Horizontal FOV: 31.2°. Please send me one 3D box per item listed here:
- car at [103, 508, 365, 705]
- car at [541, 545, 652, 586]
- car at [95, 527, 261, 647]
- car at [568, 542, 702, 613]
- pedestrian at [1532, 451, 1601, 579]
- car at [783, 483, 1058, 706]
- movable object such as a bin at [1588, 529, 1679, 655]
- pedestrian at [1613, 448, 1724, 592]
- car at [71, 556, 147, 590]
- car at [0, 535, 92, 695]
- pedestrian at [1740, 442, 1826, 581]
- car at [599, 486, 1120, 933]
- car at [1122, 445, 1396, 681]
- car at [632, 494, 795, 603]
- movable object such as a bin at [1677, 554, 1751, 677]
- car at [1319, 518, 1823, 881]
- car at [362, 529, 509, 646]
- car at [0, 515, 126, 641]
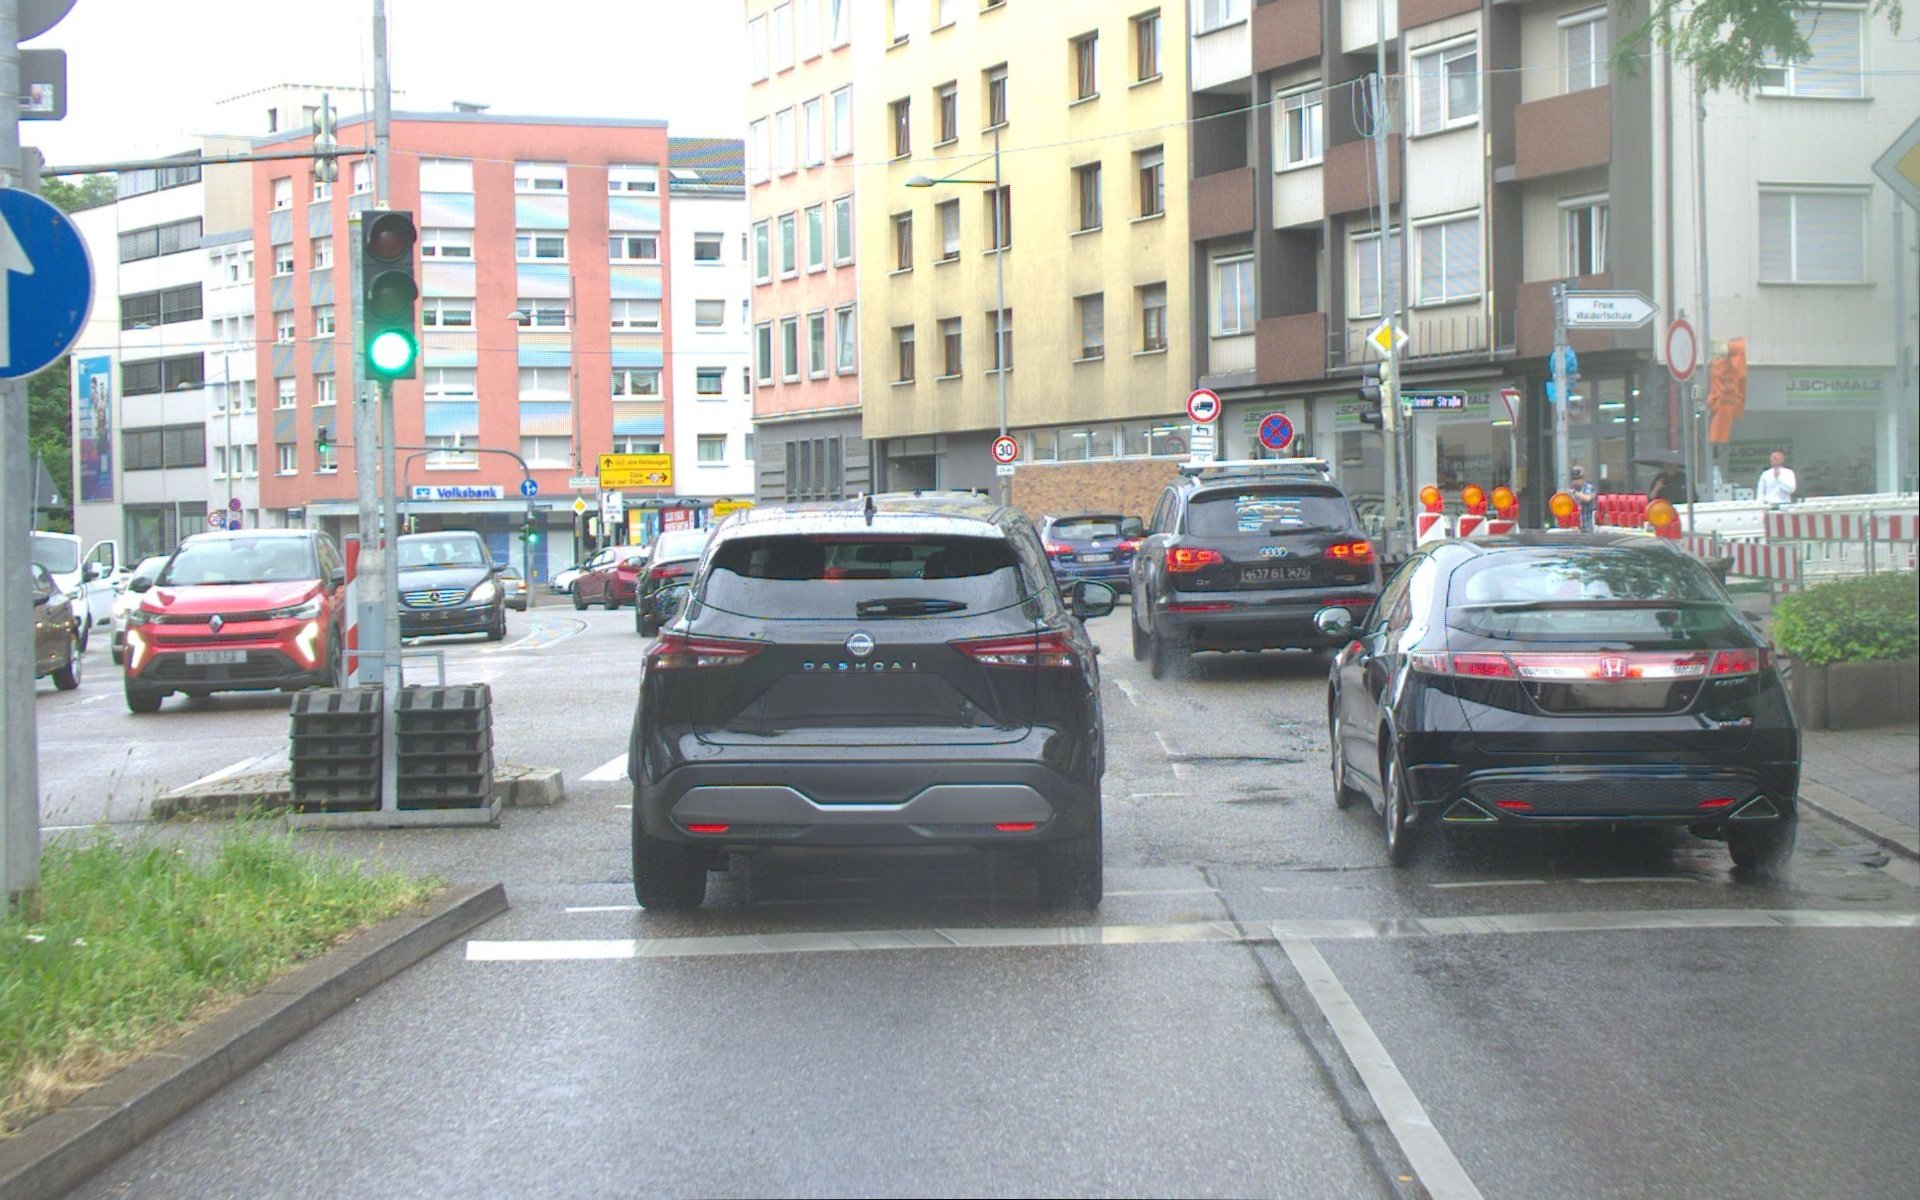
[{"bbox_3d":[-6.459,0.009,30.970,1.846,1.588,4.092,-2,1,-6],"label":"car"},{"bbox_3d":[-14.171,-1.362,134.085,3.945,1.481,1.703,-2,1,-24],"label":"car"},{"bbox_3d":[-10.704,-0.218,47.309,1.772,1.518,4.285,-2,2,-7],"label":"car"},{"bbox_3d":[-7.284,-0.517,76.763,1.993,1.525,4.001,1,1,-20],"label":"car"},{"bbox_3d":[8.234,-1.150,46.647,0.792,1.682,0.821,-3,0,14],"label":"pedestrian"},{"bbox_3d":[-0.258,-0.100,29.297,1.946,1.679,4.000,-3,1,4],"label":"car"},{"bbox_3d":[5.736,-0.073,29.295,0.620,1.028,0.532,-3,3,-2],"label":"movable object such as a bin"},{"bbox_3d":[9.491,-1.073,46.081,0.917,1.854,1.031,-2,-1,-42],"label":"pedestrian"},{"bbox_3d":[-37.493,-1.199,151.372,1.774,1.396,4.579,-4,2,-33],"label":"car"},{"bbox_3d":[-10.102,0.143,34.467,1.847,1.492,4.001,-2,1,-2],"label":"car"},{"bbox_3d":[11.382,-1.226,47.556,0.657,1.873,0.991,-3,-1,44],"label":"pedestrian"},{"bbox_3d":[-0.386,0.355,14.520,1.894,1.623,4.000,0,1,-1],"label":"car"},{"bbox_3d":[2.520,-0.398,30.124,2.021,1.863,4.900,-1,2,1],"label":"car"},{"bbox_3d":[-3.396,-0.687,46.659,1.993,1.383,4.501,1,1,-7],"label":"car"},{"bbox_3d":[5.958,0.121,27.168,0.419,0.926,0.532,-3,3,-2],"label":"movable object such as a bin"},{"bbox_3d":[2.737,0.366,16.255,1.784,1.491,4.056,0,1,2],"label":"car"},{"bbox_3d":[-7.457,-0.217,49.192,1.829,1.538,4.285,-2,2,-6],"label":"car"},{"bbox_3d":[-15.374,-0.327,58.481,2.118,2.008,5.130,1,-1,-15],"label":"car"}]
